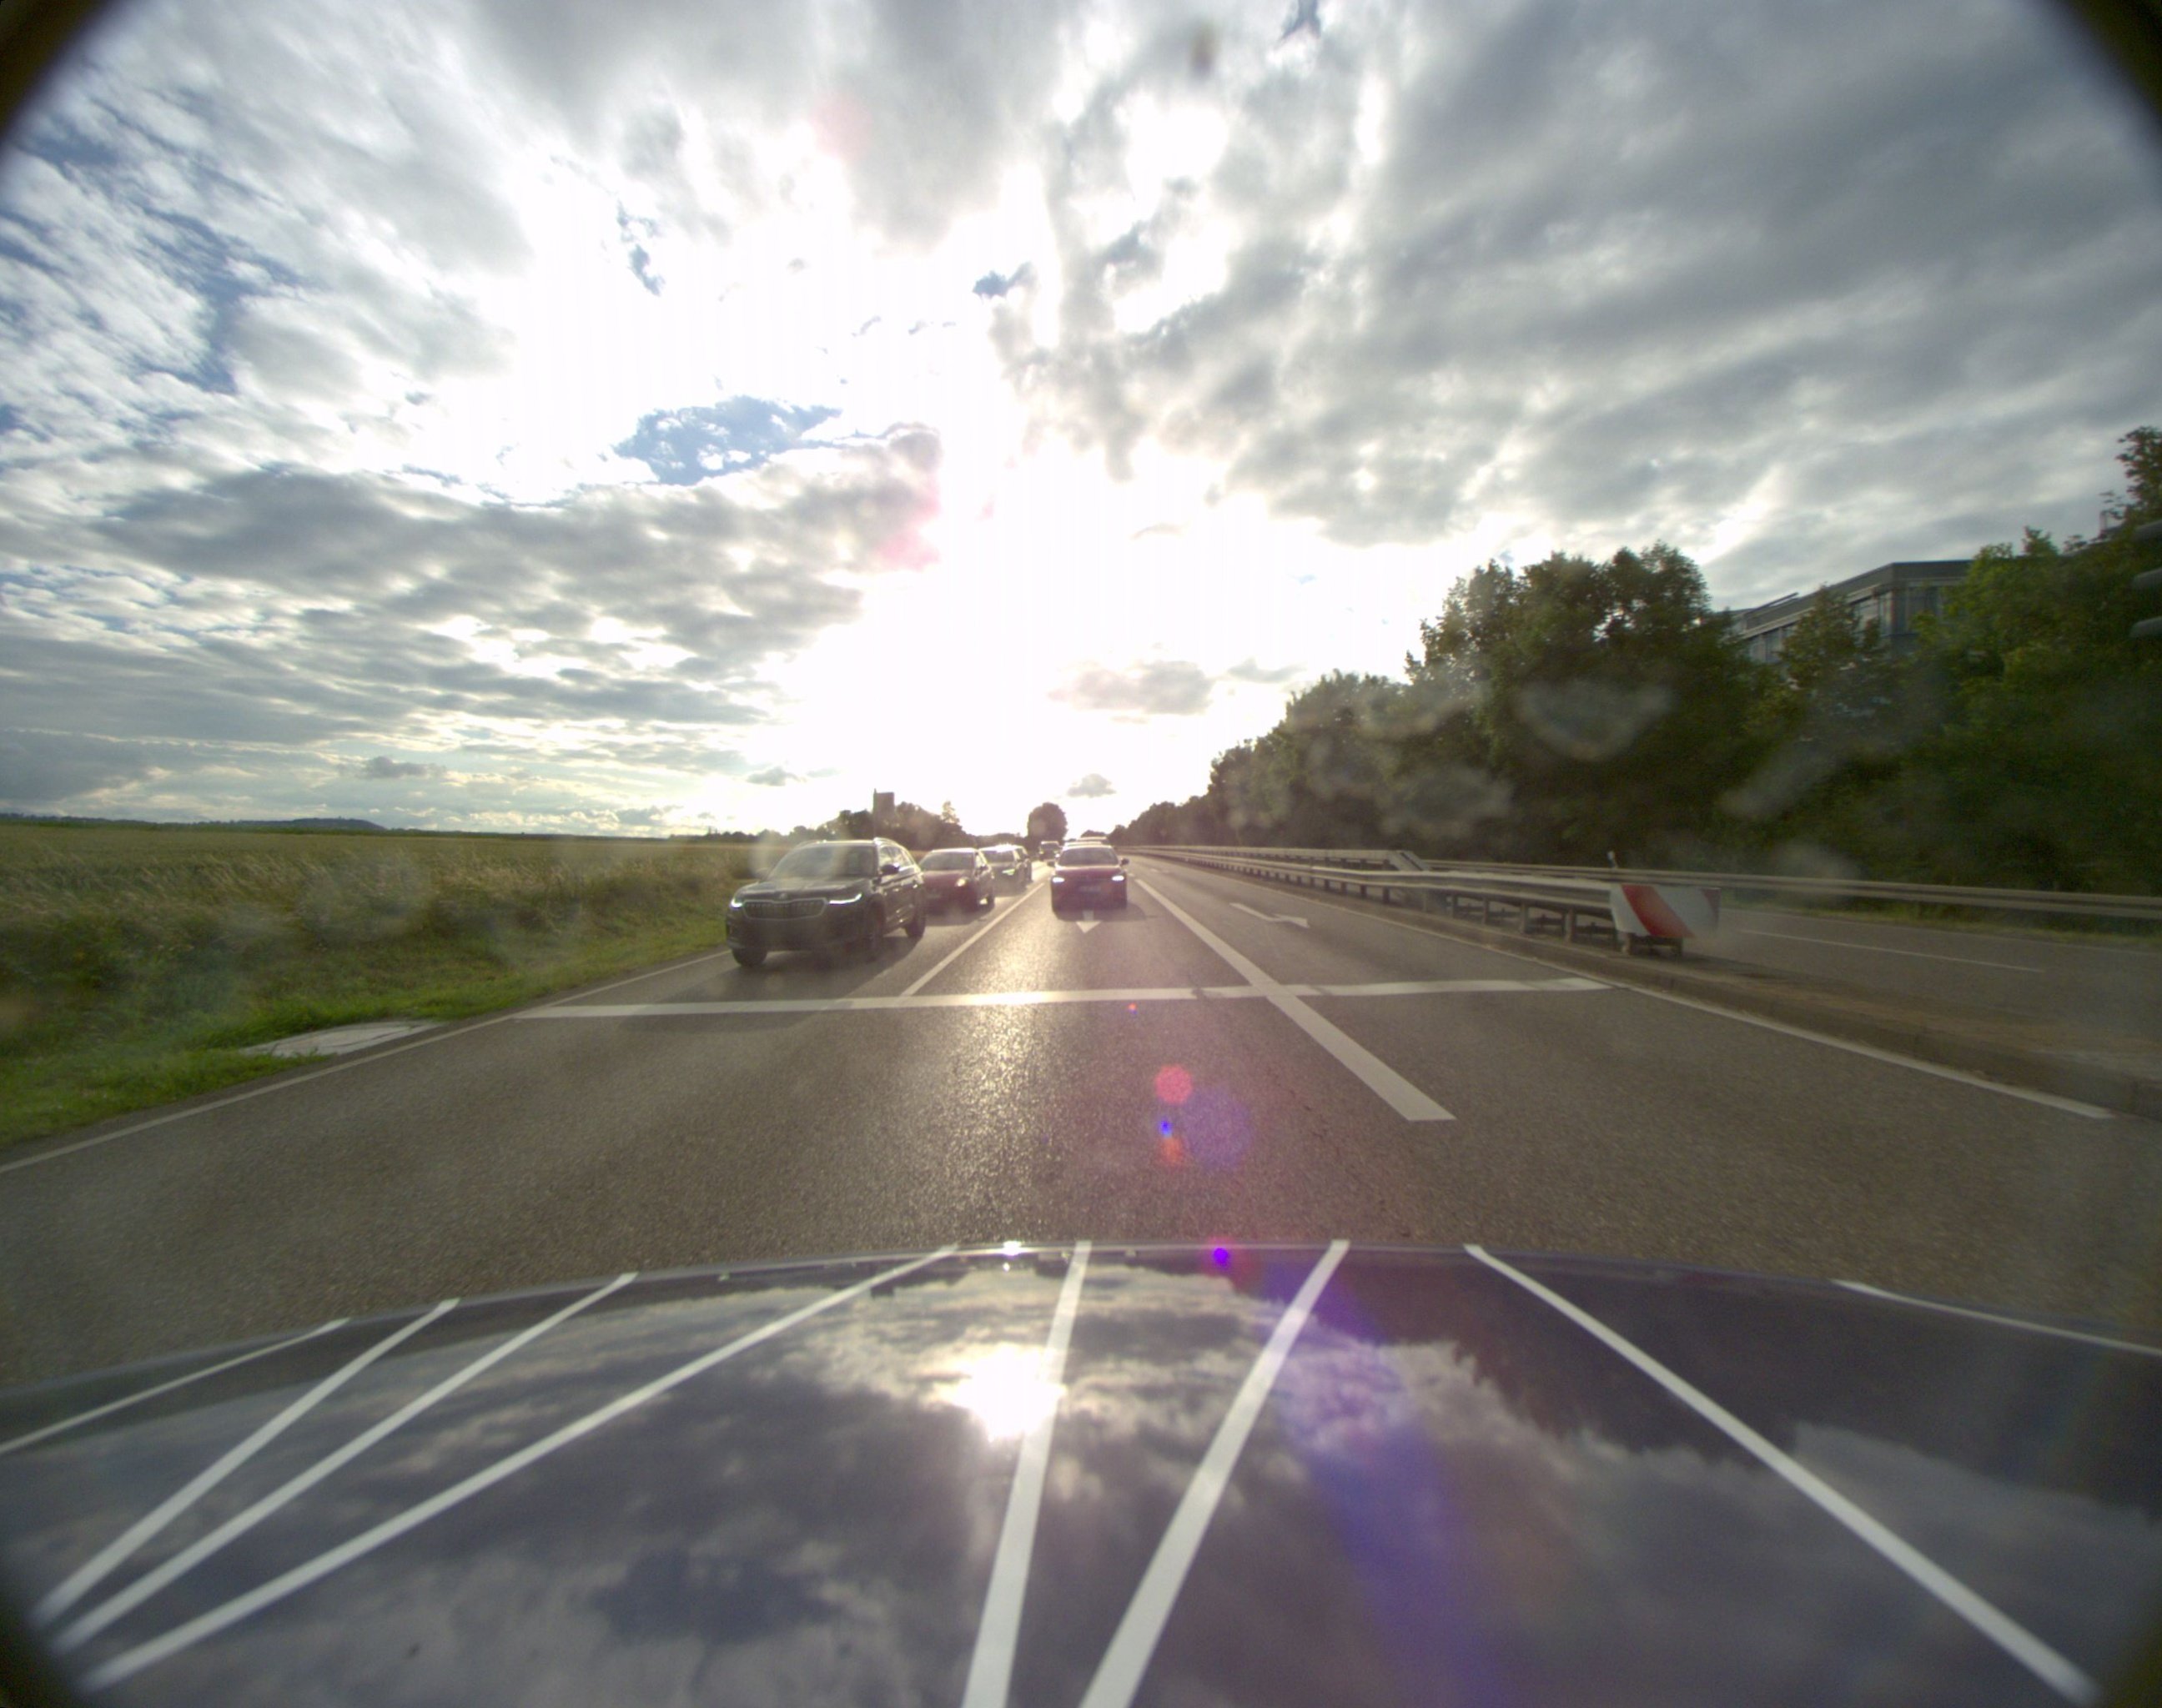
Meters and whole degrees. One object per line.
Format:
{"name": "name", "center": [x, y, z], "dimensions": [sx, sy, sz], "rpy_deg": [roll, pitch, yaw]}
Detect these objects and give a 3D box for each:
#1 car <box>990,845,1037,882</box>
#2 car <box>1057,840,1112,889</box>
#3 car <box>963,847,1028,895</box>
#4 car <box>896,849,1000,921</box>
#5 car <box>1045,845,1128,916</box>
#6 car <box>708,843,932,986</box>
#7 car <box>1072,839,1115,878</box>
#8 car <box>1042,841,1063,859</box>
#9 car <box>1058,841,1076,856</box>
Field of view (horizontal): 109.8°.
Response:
{"name": "car", "center": [-2.874, 0.360, 33.014], "dimensions": [1.631, 1.467, 3.474], "rpy_deg": [-2, 1, 1]}
{"name": "car", "center": [0.133, 0.314, 26.592], "dimensions": [1.758, 1.543, 3.999], "rpy_deg": [-1, 1, 0]}
{"name": "car", "center": [-2.876, 0.523, 26.255], "dimensions": [1.723, 1.467, 3.865], "rpy_deg": [-2, 1, 0]}
{"name": "car", "center": [-3.109, 0.661, 18.497], "dimensions": [1.668, 1.467, 3.865], "rpy_deg": [-2, 1, 2]}
{"name": "car", "center": [0.189, 0.551, 18.219], "dimensions": [1.723, 1.467, 3.728], "rpy_deg": [-2, 1, 2]}
{"name": "car", "center": [-3.570, 0.696, 11.348], "dimensions": [1.723, 1.658, 4.418], "rpy_deg": [-2, 1, 0]}
{"name": "car", "center": [0.612, 0.166, 34.343], "dimensions": [1.786, 1.624, 3.865], "rpy_deg": [-2, 1, 2]}
{"name": "car", "center": [-2.773, -0.425, 75.014], "dimensions": [1.949, 1.652, 3.999], "rpy_deg": [-1, 1, 0]}
{"name": "car", "center": [-1.741, -0.698, 95.604], "dimensions": [1.998, 1.740, 3.999], "rpy_deg": [3, 2, 1]}
